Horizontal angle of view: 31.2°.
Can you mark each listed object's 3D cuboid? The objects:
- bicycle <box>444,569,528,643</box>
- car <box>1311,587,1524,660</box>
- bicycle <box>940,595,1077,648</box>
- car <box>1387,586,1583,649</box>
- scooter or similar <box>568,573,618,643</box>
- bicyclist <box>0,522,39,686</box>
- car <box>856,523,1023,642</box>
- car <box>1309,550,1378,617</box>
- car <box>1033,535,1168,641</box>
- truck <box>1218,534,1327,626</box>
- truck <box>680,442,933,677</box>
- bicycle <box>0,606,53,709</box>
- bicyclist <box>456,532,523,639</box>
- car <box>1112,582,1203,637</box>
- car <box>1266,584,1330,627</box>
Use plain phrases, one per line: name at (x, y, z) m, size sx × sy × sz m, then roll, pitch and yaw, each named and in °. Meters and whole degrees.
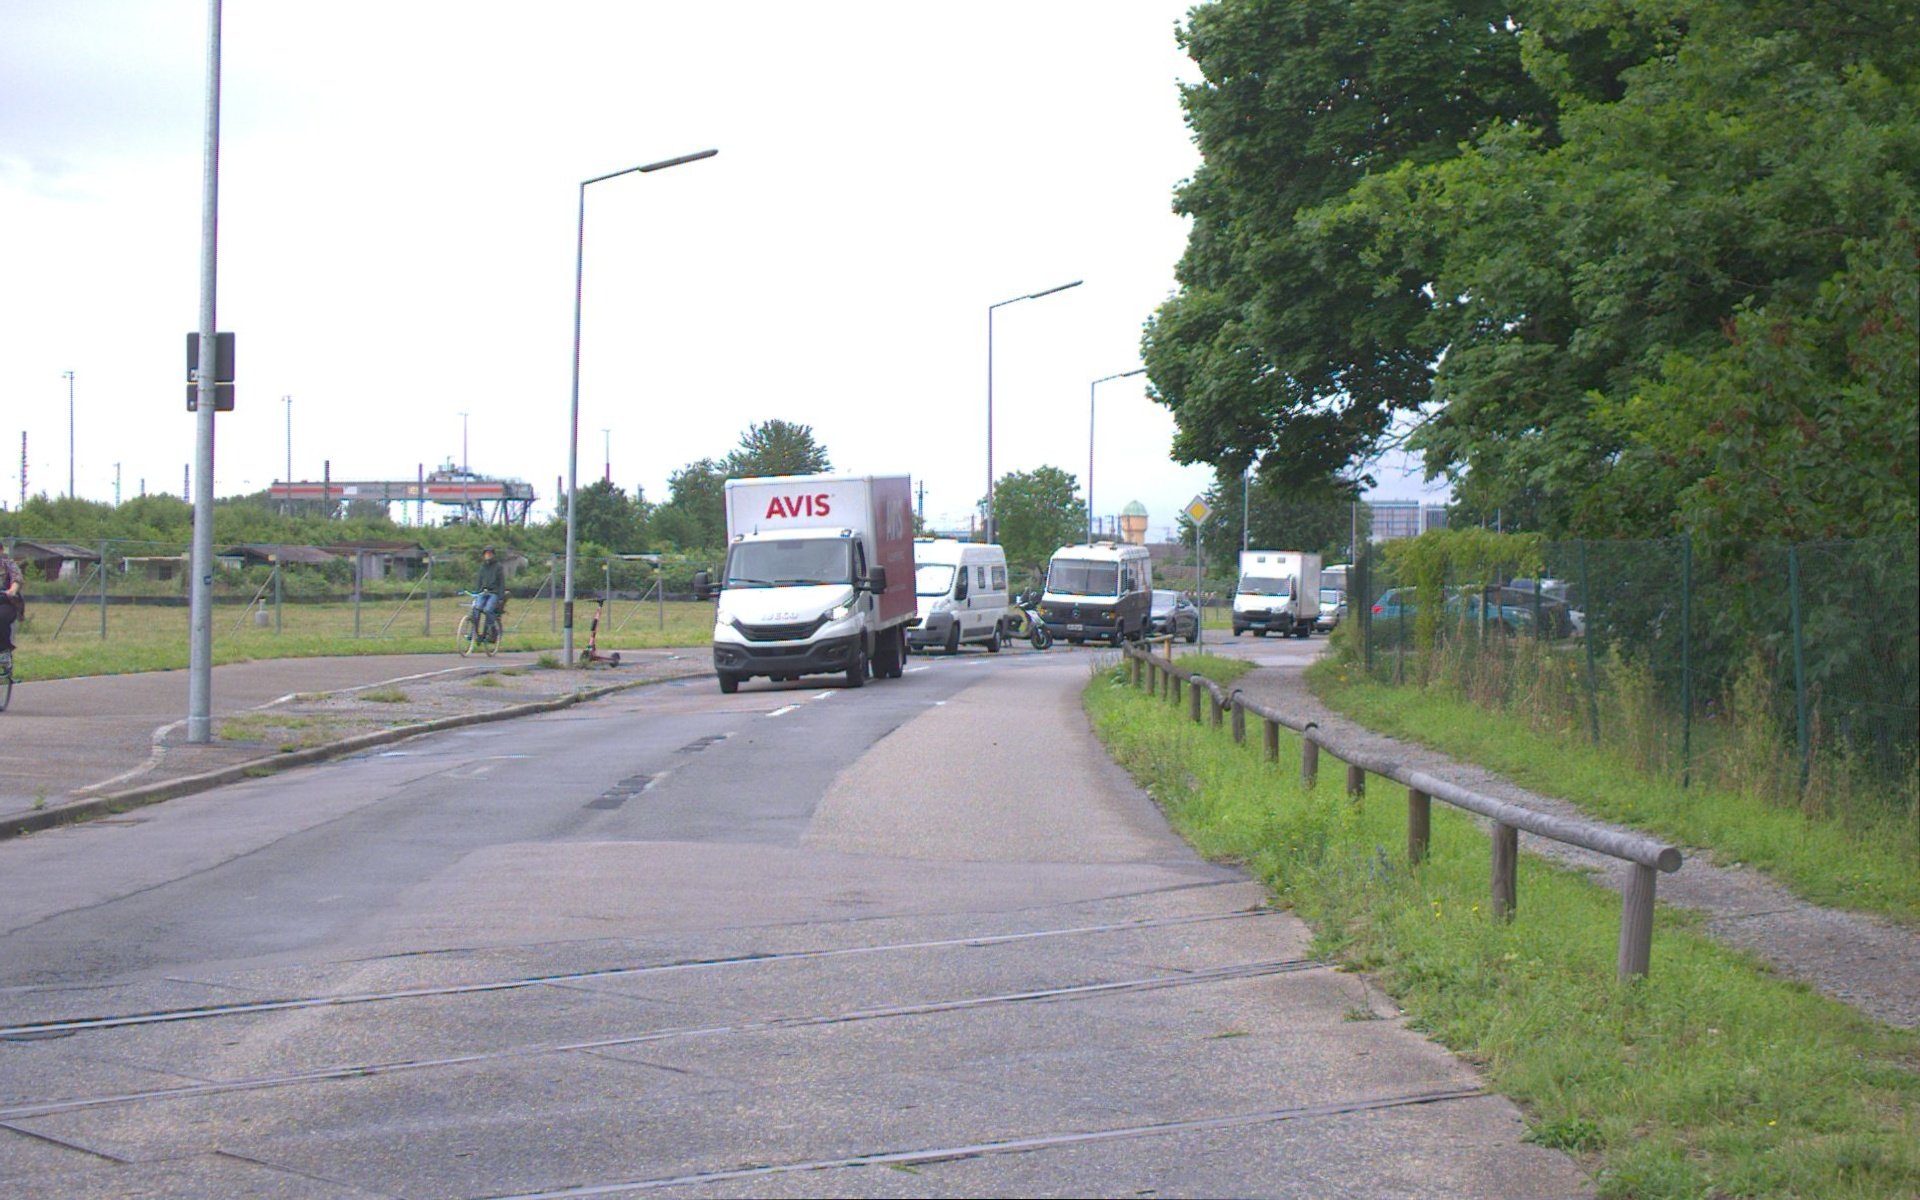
bicycle at (-8.161, 0.084, 59.321) m, size 0.819 × 1.200 × 2.556 m, roll 1°, pitch 1°, yaw 6°
car at (11.022, 0.552, 82.797) m, size 4.864 × 1.610 × 1.841 m, roll 1°, pitch 1°, yaw 15°
bicycle at (1.208, 0.521, 84.611) m, size 3.122 × 1.195 × 1.364 m, roll 1°, pitch 1°, yaw 15°
car at (13.747, 0.446, 89.937) m, size 4.864 × 1.495 × 1.841 m, roll 1°, pitch 1°, yaw 15°
scooter or similar at (-6.373, 0.130, 59.744) m, size 0.608 × 1.179 × 1.702 m, roll 3°, pitch 0°, yaw 1°
bicyclist at (-9.228, 0.022, 32.399) m, size 0.782 × 1.521 × 1.094 m, roll 1°, pitch 1°, yaw 0°
car at (-0.386, -0.426, 76.982) m, size 2.290 × 2.547 × 6.406 m, roll 1°, pitch 1°, yaw 13°
car at (15.227, -0.671, 136.356) m, size 2.006 × 2.565 × 4.783 m, roll 1°, pitch 1°, yaw 15°
car at (3.838, -0.377, 92.751) m, size 2.302 × 2.725 × 6.087 m, roll 1°, pitch 1°, yaw 15°
truck at (10.919, -0.734, 119.477) m, size 2.463 × 3.050 × 8.157 m, roll 1°, pitch 1°, yaw 14°
truck at (-2.078, -0.583, 49.429) m, size 2.341 × 3.052 × 7.494 m, roll -2°, pitch 1°, yaw 7°
bicycle at (-9.249, 0.534, 32.406) m, size 0.803 × 0.904 × 2.232 m, roll 1°, pitch 1°, yaw 0°
bicyclist at (-8.136, -0.257, 59.532) m, size 0.827 × 1.815 × 1.330 m, roll 1°, pitch 1°, yaw 6°
car at (5.735, 0.247, 99.510) m, size 1.781 × 1.499 × 3.997 m, roll 1°, pitch 1°, yaw 16°
car at (12.569, 0.196, 127.635) m, size 1.756 × 1.520 × 3.997 m, roll 1°, pitch 1°, yaw 15°
